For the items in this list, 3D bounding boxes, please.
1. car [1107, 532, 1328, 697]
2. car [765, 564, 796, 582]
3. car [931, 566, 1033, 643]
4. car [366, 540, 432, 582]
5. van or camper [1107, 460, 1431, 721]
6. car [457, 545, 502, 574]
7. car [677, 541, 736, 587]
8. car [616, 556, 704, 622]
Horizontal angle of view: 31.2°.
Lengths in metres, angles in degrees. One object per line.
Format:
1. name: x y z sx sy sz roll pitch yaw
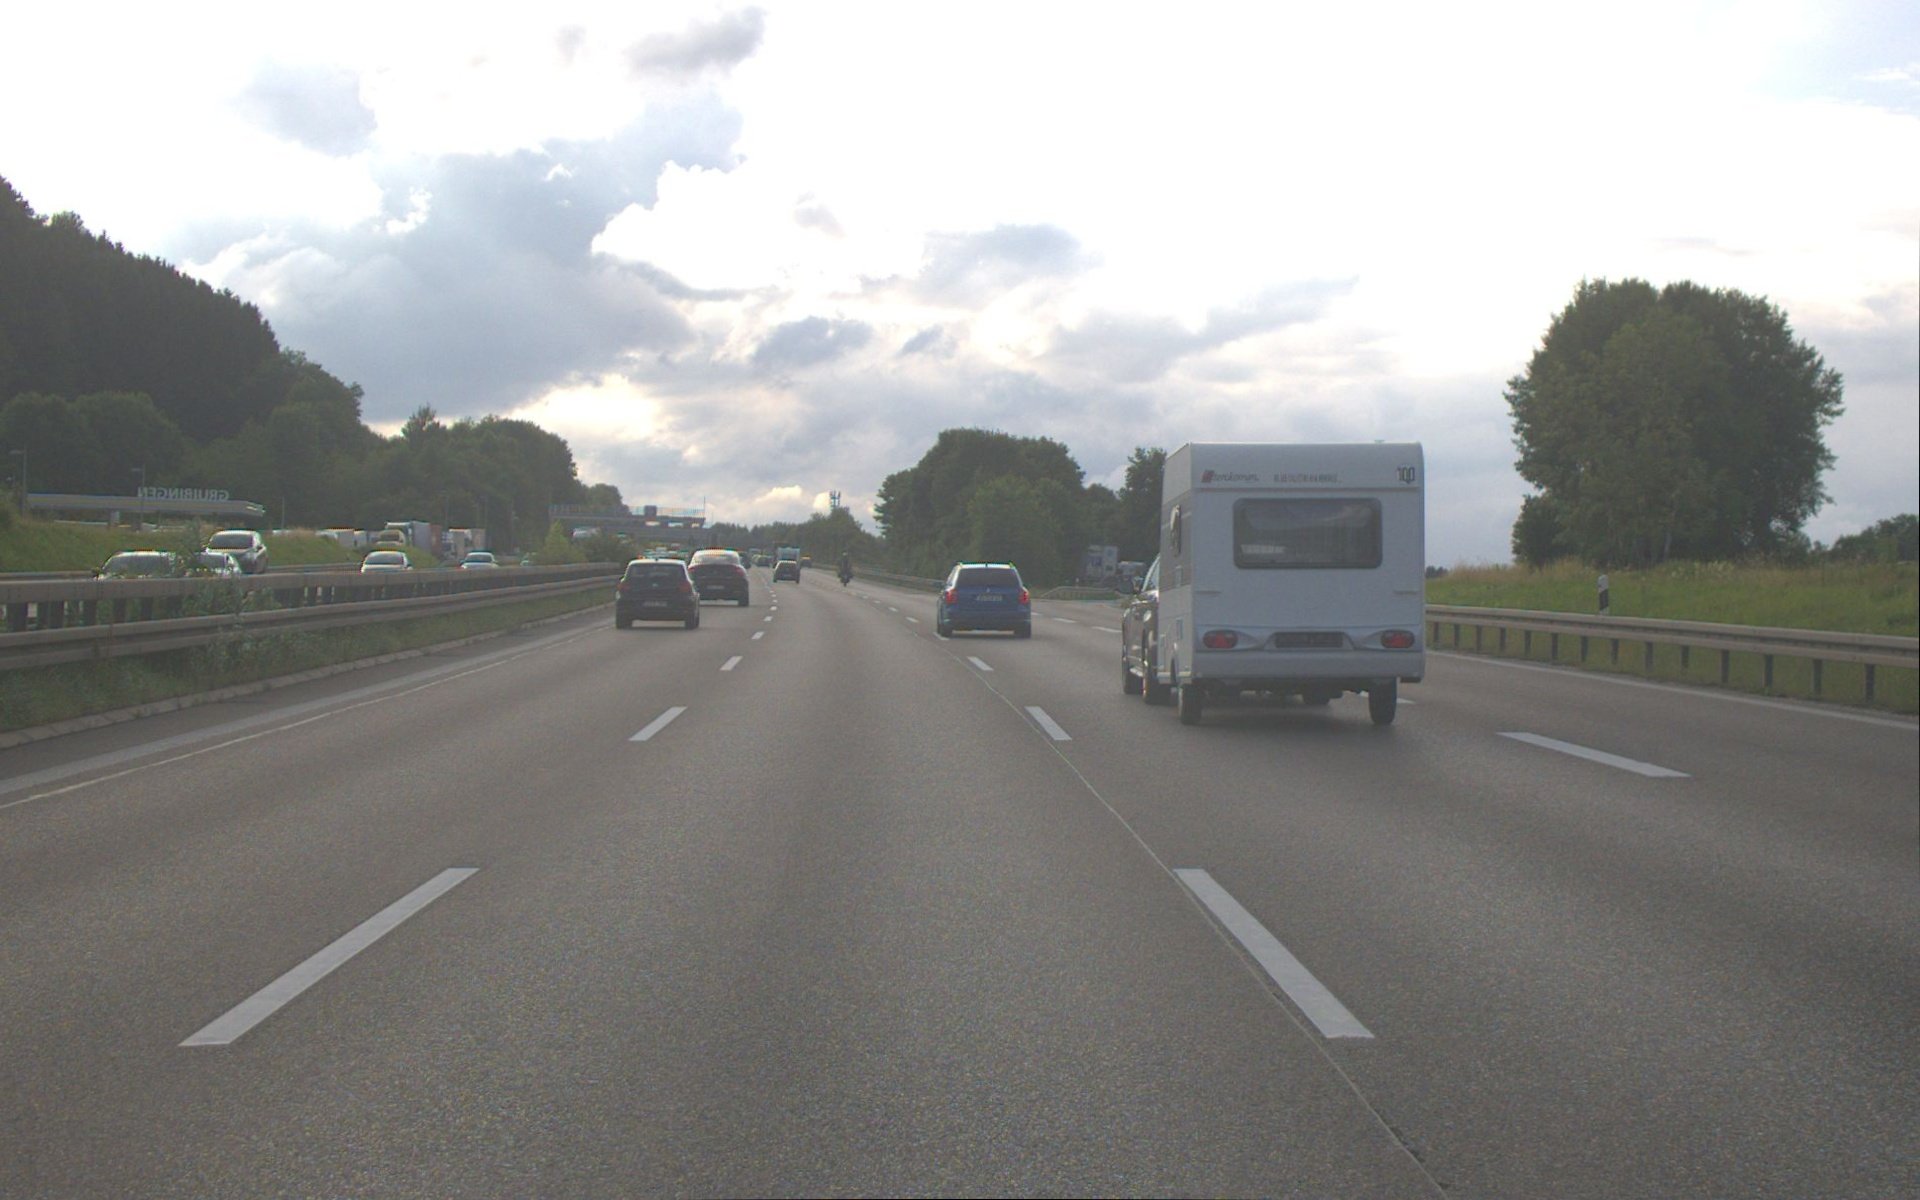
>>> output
1. car: 2.708 0.110 37.100 1.786 1.647 4.482 1 1 -3
2. car: -11.968 -1.801 229.222 1.750 1.218 4.001 0 1 -8
3. car: 0.401 0.069 66.981 1.766 1.428 4.000 -1 0 -2
4. car: -20.249 -1.413 124.225 1.951 1.470 3.873 0 1 -3
5. van or camper: 2.818 -0.076 32.745 2.548 2.232 5.329 1 0 0
6. car: -24.405 -2.049 174.597 1.951 1.443 3.873 0 1 -3
7. car: -7.781 -1.123 105.647 1.565 1.376 4.000 0 1 -1
8. car: -6.292 -0.243 72.375 1.538 1.343 3.677 0 1 0
